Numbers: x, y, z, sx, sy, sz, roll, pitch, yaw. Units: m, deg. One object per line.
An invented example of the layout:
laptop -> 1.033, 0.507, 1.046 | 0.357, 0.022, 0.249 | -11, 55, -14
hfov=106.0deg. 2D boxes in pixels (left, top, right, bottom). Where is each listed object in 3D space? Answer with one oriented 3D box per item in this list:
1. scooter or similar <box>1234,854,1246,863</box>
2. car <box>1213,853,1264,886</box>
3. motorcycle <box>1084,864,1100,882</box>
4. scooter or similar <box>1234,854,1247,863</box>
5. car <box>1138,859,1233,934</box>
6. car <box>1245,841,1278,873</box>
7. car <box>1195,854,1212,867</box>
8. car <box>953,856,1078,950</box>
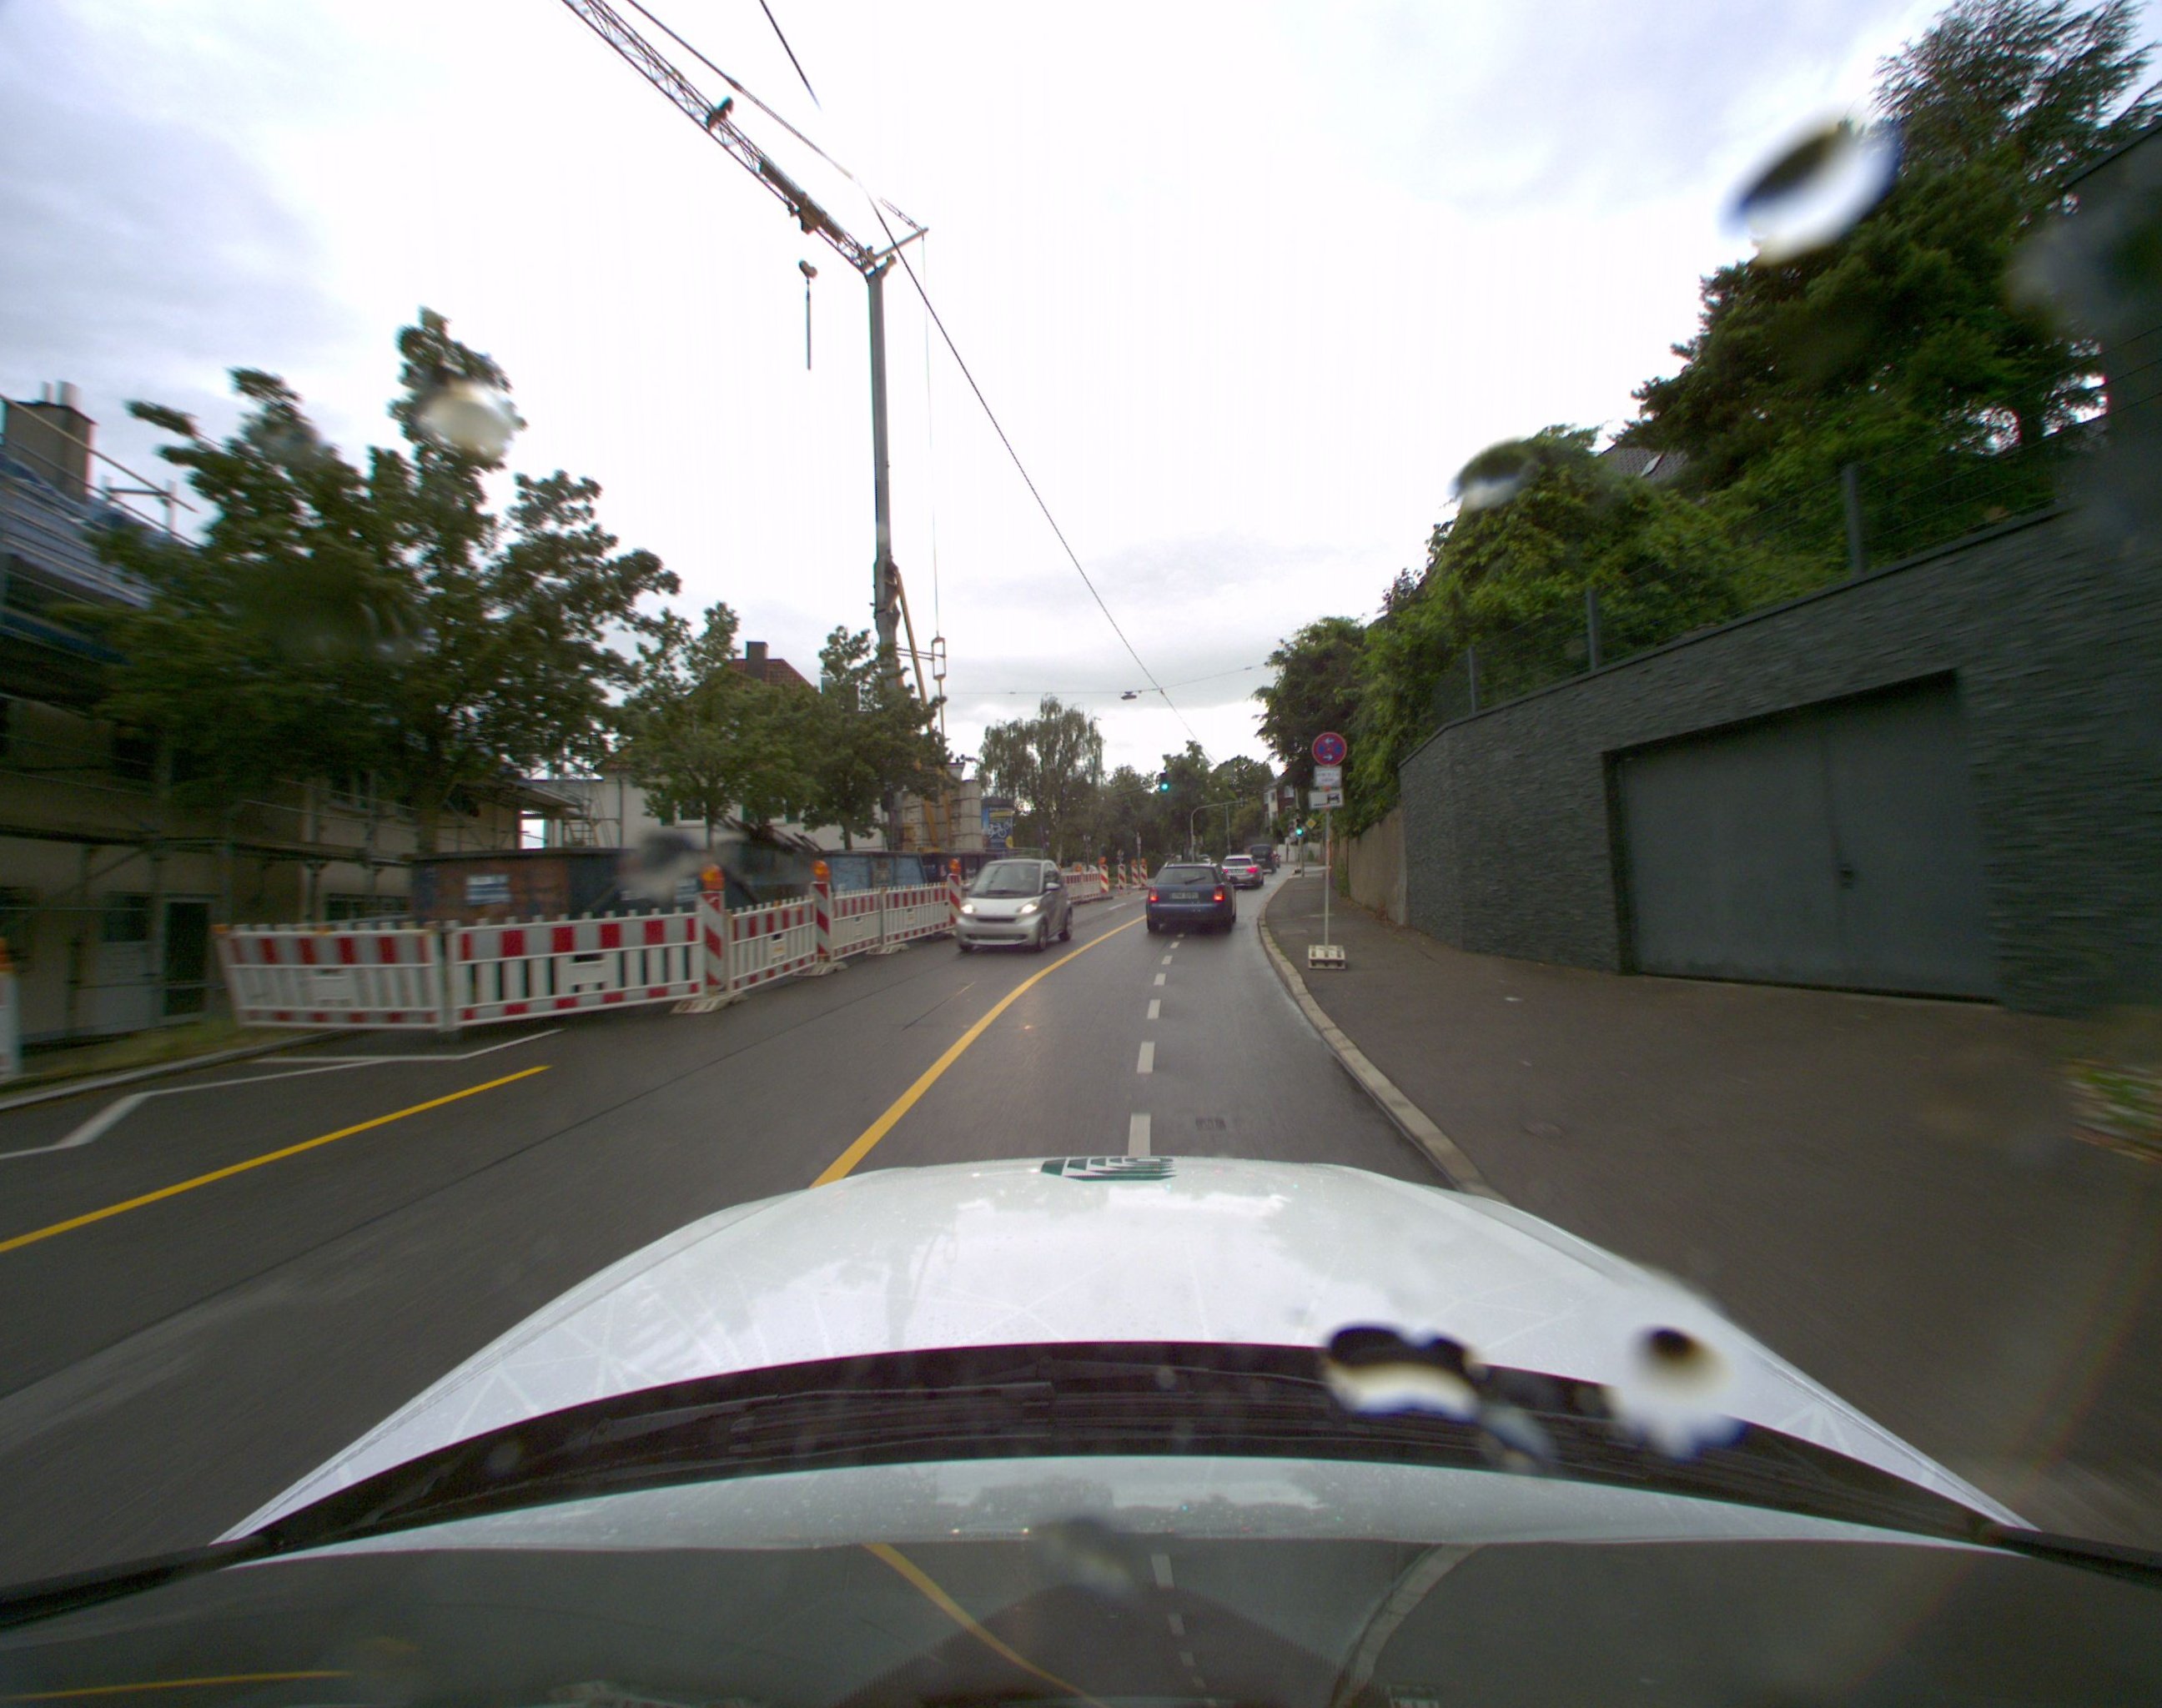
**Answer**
scooter or similar -> 24.710, 0.637, 126.520 | 1.826, 1.315, 0.600 | 2, -3, 4
car -> 7.073, 0.694, 36.224 | 1.894, 1.388, 4.367 | -1, -1, 15
motorcycle -> 0.745, 1.251, 54.807 | 0.586, 1.131, 1.850 | -4, -1, 14
scooter or similar -> 24.939, 0.685, 127.276 | 1.826, 1.315, 0.600 | 2, -3, 4
car -> 2.397, 0.832, 17.826 | 1.766, 1.439, 4.012 | 0, 0, 11
car -> 11.719, 0.172, 52.768 | 1.717, 1.894, 4.073 | -5, -1, 16
car -> 15.382, 0.814, 102.532 | 1.666, 1.426, 4.004 | -4, -1, 4
car -> -1.081, 0.812, 14.730 | 1.446, 1.526, 2.933 | -1, -1, 12
